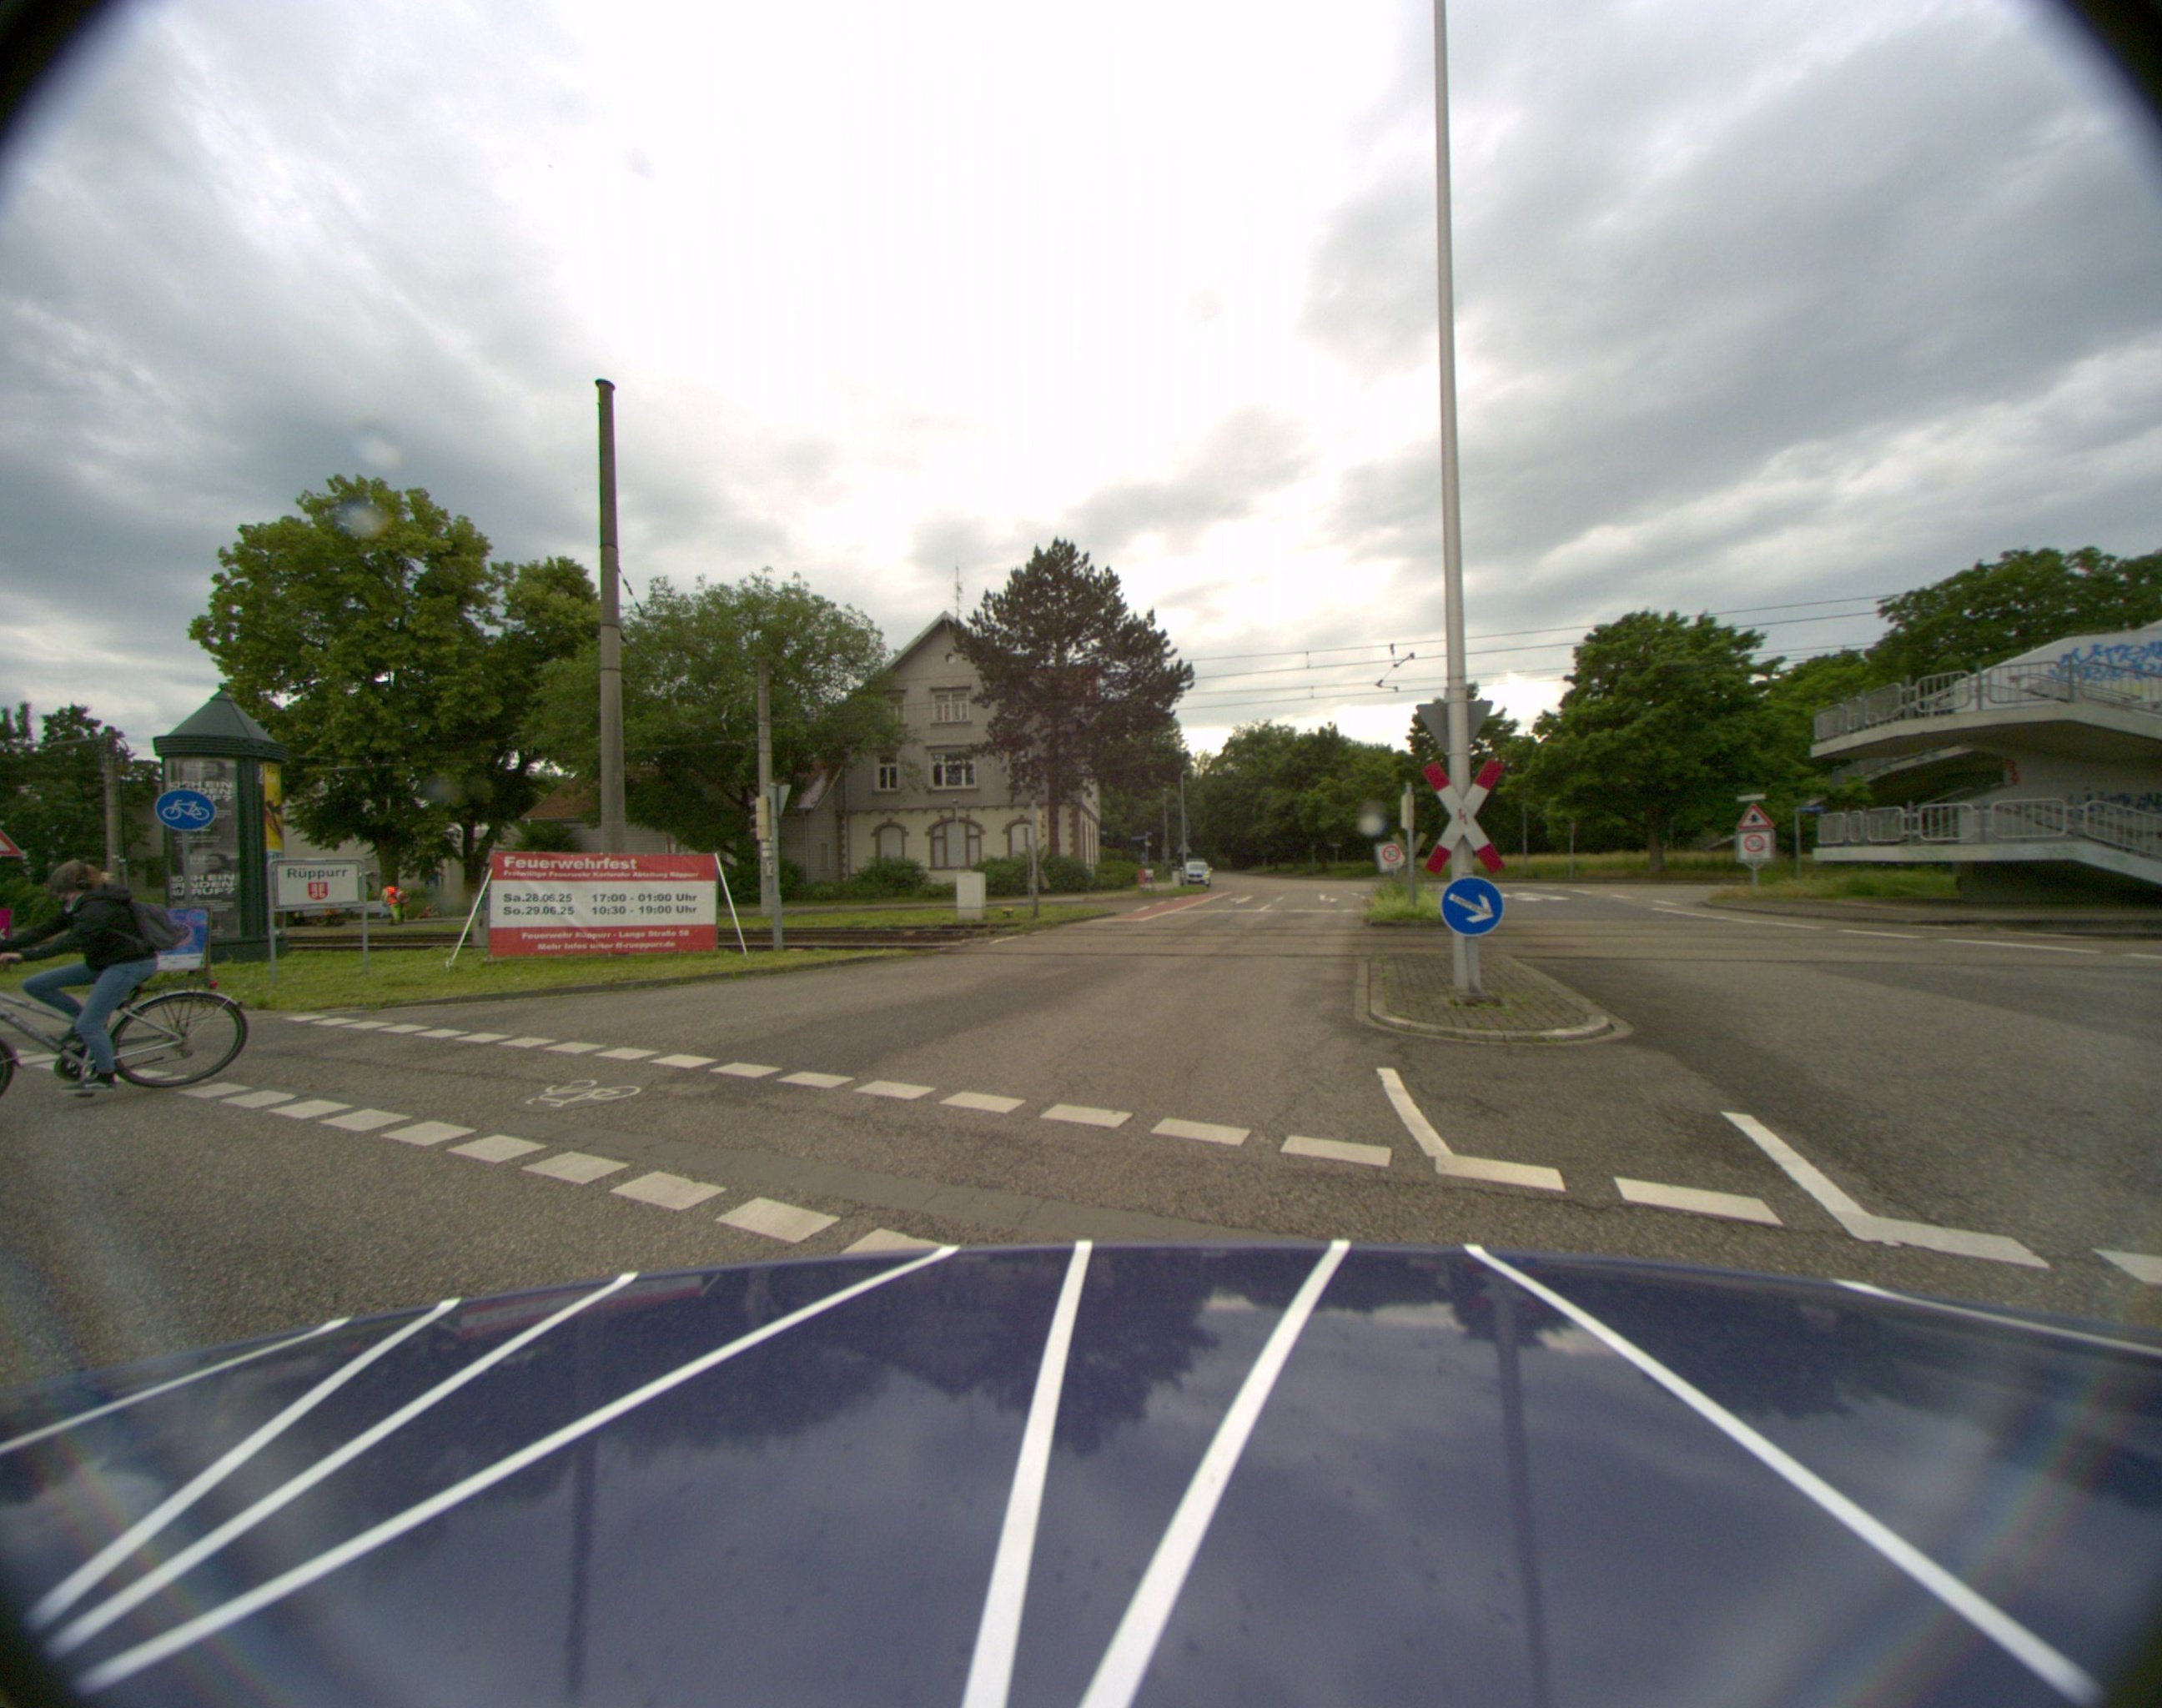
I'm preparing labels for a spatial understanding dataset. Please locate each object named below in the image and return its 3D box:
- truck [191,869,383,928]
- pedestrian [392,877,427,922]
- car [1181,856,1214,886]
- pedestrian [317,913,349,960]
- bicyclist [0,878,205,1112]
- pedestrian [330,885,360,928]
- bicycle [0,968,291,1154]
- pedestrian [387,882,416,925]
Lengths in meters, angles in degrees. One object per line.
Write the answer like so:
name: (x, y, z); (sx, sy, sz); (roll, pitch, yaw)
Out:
truck: (-34.792, 1.934, 33.396); (6.402, 2.280, 2.607); (-2, 0, 9)
pedestrian: (-28.266, 1.923, 31.978); (0.679, 1.843, 0.875); (-2, -1, 21)
car: (7.432, 1.049, 48.767); (1.934, 1.839, 4.002); (0, 0, 6)
pedestrian: (-30.628, 3.363, 31.115); (0.713, 1.829, 0.608); (-2, 0, -26)
bicyclist: (-6.901, 0.912, 5.190); (0.622, 1.416, 0.962); (-6, -1, 18)
pedestrian: (-30.916, 2.181, 31.937); (0.575, 1.752, 0.636); (-2, 0, -1)
bicycle: (-6.903, 1.418, 5.240); (0.383, 0.974, 2.032); (-2, -1, 19)
pedestrian: (-28.770, 2.076, 32.177); (0.575, 1.752, 0.636); (-2, 0, -1)
